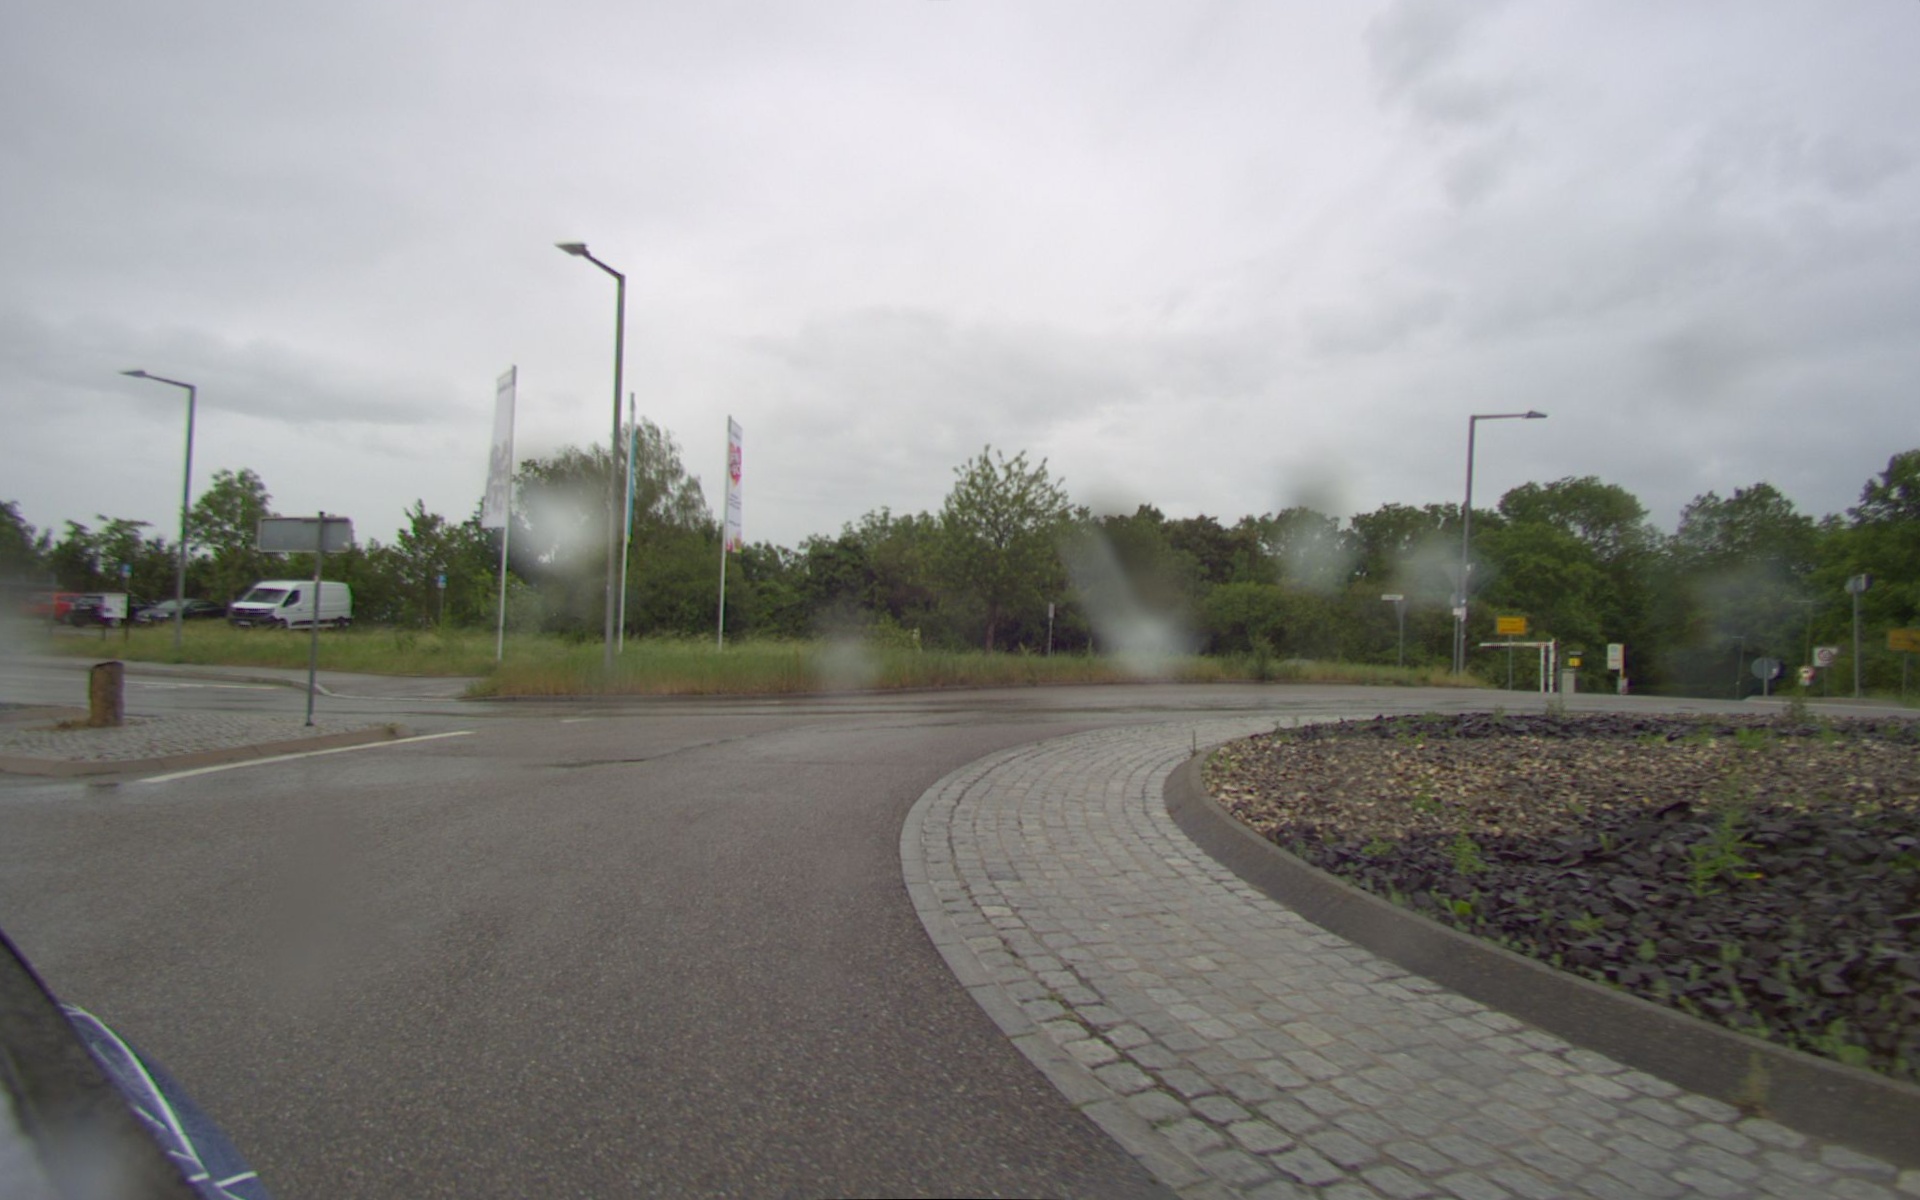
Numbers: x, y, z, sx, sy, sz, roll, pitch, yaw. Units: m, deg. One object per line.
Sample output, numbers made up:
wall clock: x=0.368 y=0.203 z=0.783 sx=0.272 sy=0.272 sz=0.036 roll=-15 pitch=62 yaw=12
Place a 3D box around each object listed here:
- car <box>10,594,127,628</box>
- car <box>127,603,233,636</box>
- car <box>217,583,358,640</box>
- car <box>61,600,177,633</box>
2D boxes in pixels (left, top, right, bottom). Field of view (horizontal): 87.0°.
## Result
car: x=-42.370 y=0.560 z=48.228 sx=1.824 sy=1.480 sz=3.994 roll=1 pitch=-2 yaw=5
car: x=-36.457 y=0.868 z=47.425 sx=1.633 sy=1.374 sz=3.993 roll=1 pitch=1 yaw=6
car: x=-31.551 y=0.543 z=47.813 sx=2.110 sy=2.415 sz=6.575 roll=3 pitch=-1 yaw=1
car: x=-39.120 y=0.798 z=47.214 sx=1.825 sy=1.374 sz=3.992 roll=1 pitch=-2 yaw=6
